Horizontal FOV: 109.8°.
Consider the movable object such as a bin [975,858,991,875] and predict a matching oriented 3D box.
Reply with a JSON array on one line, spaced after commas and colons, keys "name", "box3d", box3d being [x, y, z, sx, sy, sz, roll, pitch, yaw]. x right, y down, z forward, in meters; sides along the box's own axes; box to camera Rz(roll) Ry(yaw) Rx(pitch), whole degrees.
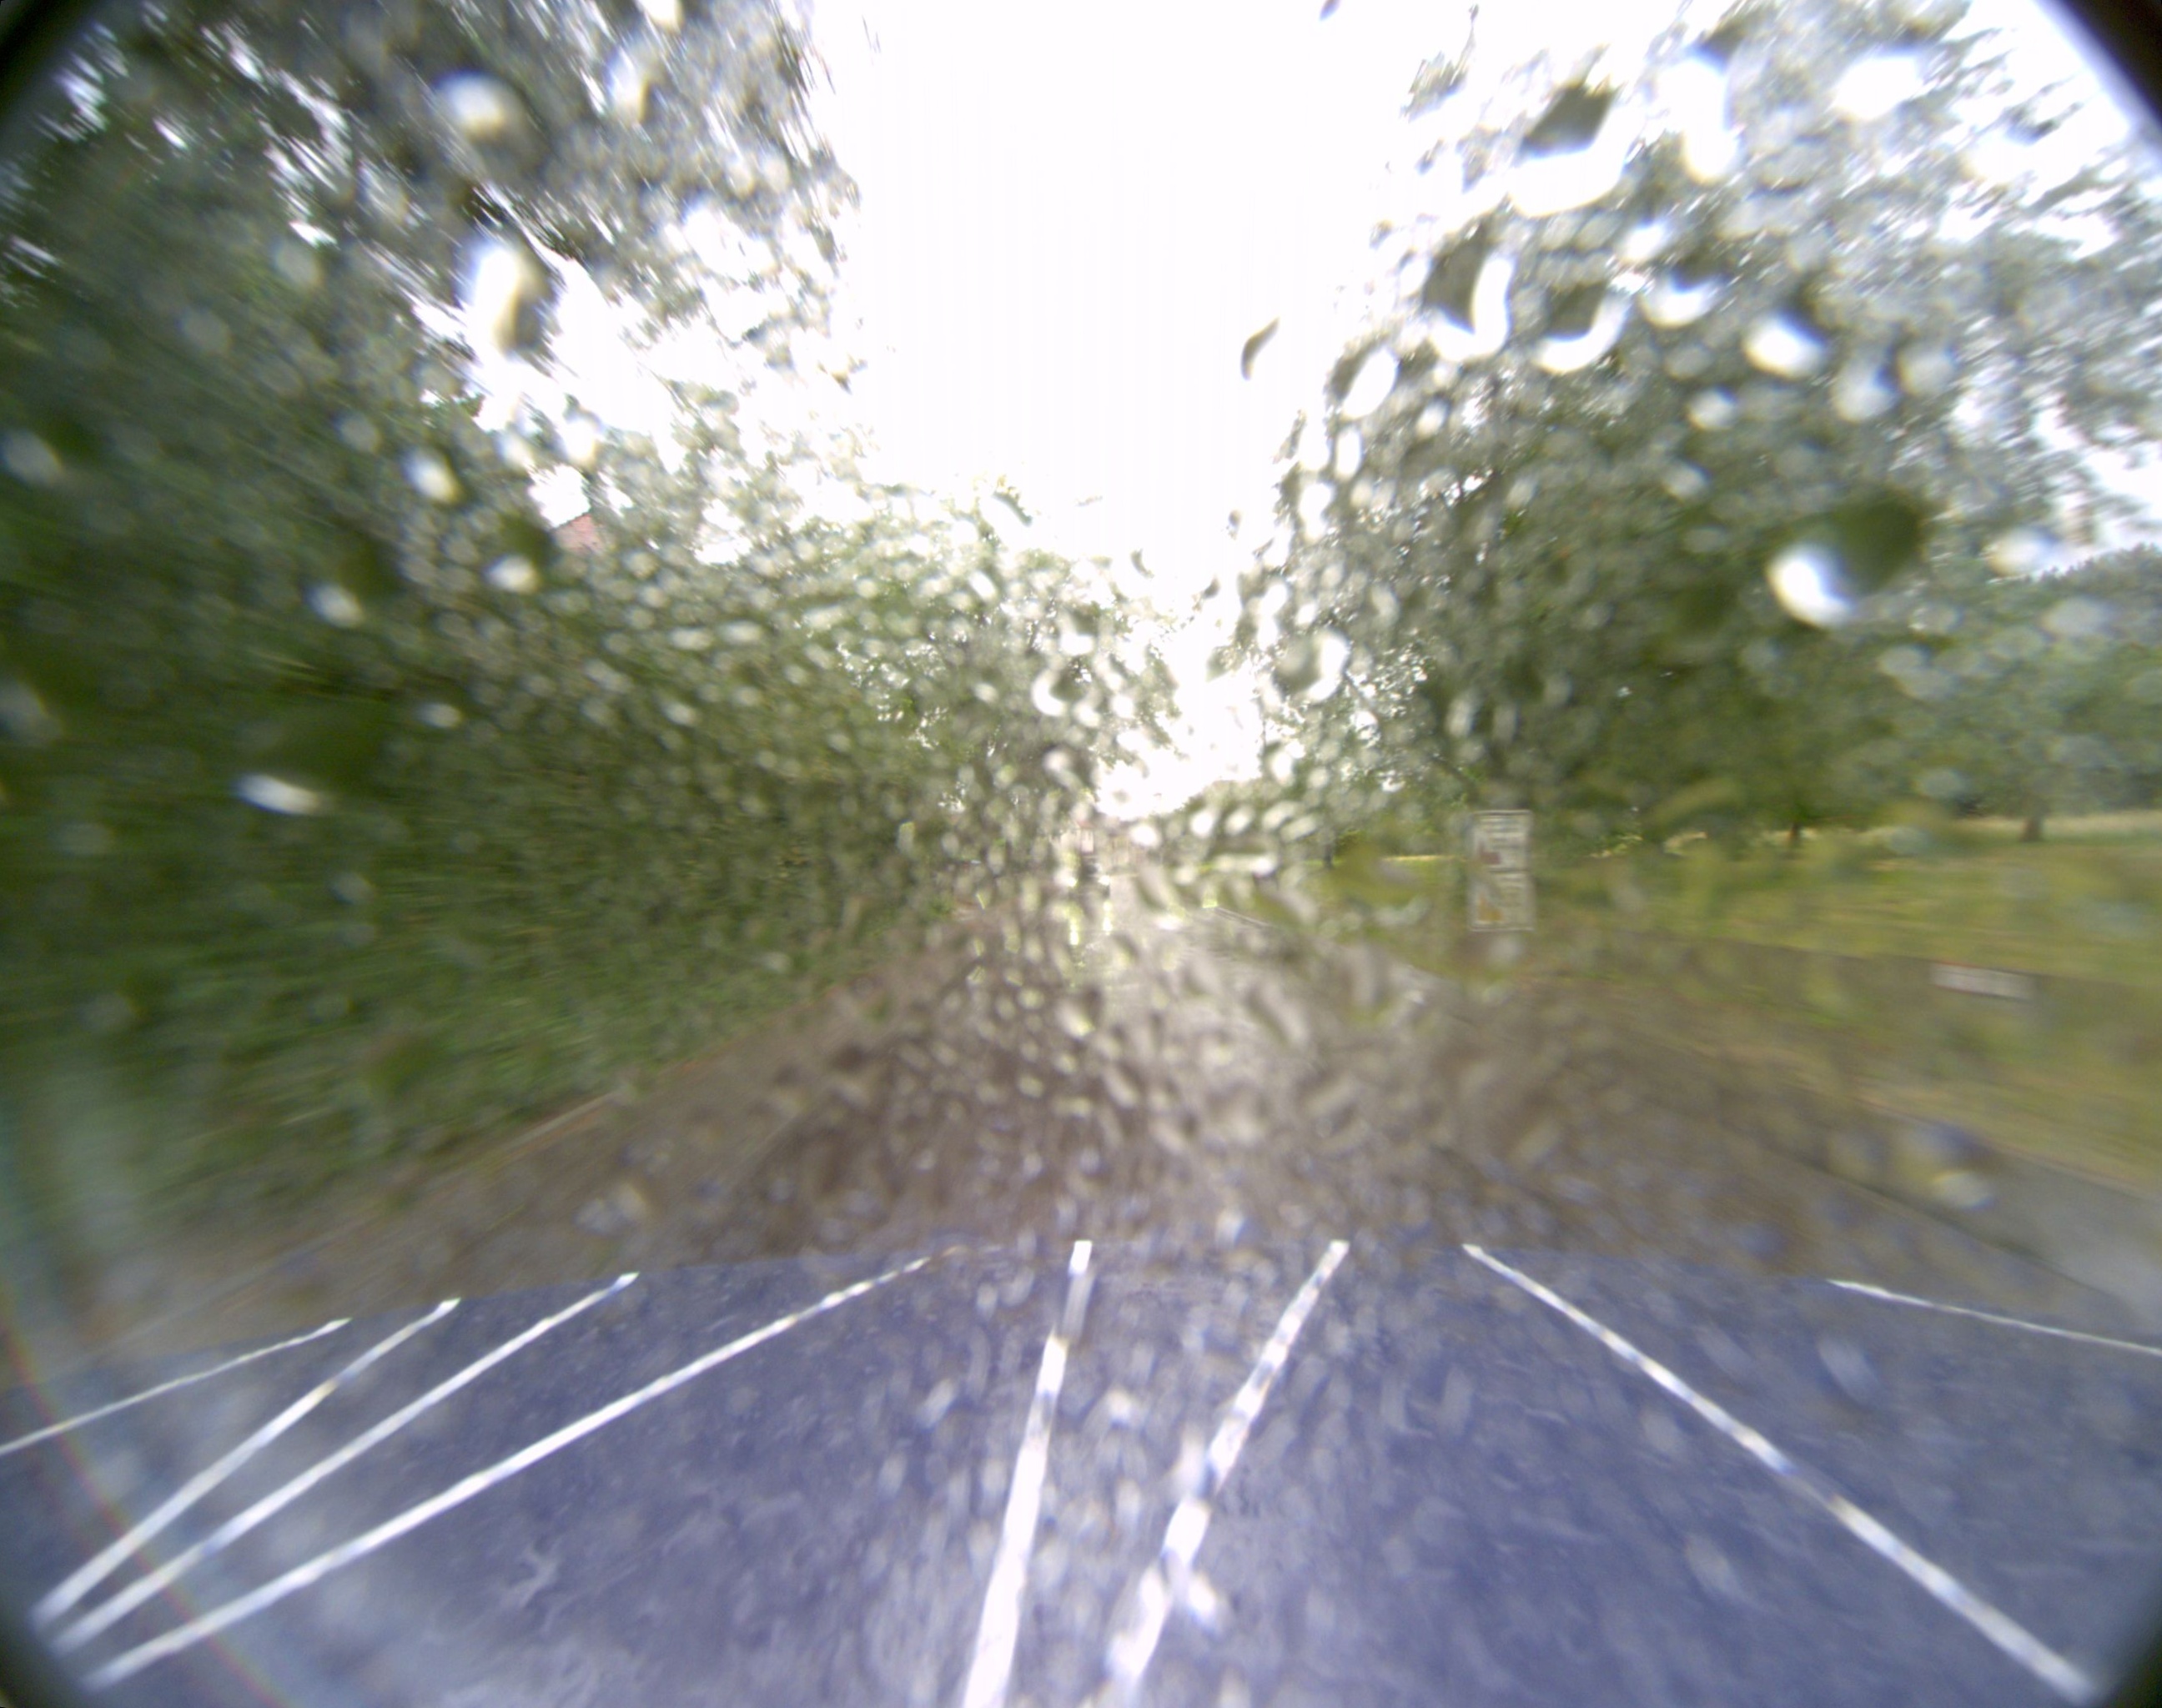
[{"name": "movable object such as a bin", "box3d": [-8.277, 1.045, 64.201, 1.238, 1.428, 0.795, 3, 0, -1]}]

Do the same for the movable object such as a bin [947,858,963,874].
[{"name": "movable object such as a bin", "box3d": [-10.631, 0.994, 64.018, 1.151, 1.335, 0.795, 3, 0, 0]}]

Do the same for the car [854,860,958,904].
[{"name": "car", "box3d": [-6.835, 1.057, 29.833, 3.620, 1.542, 1.617, -2, 1, -38]}]

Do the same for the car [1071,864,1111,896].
[{"name": "car", "box3d": [0.398, 1.156, 34.776, 1.667, 1.290, 3.518, -3, -1, -1]}]

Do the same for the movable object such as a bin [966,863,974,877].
[{"name": "movable object such as a bin", "box3d": [-9.399, 1.346, 64.089, 0.568, 1.073, 0.530, 2, 0, -1]}]

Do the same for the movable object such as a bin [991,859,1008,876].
[{"name": "movable object such as a bin", "box3d": [-6.875, 1.143, 64.009, 1.296, 1.410, 0.795, 2, 0, -1]}]
